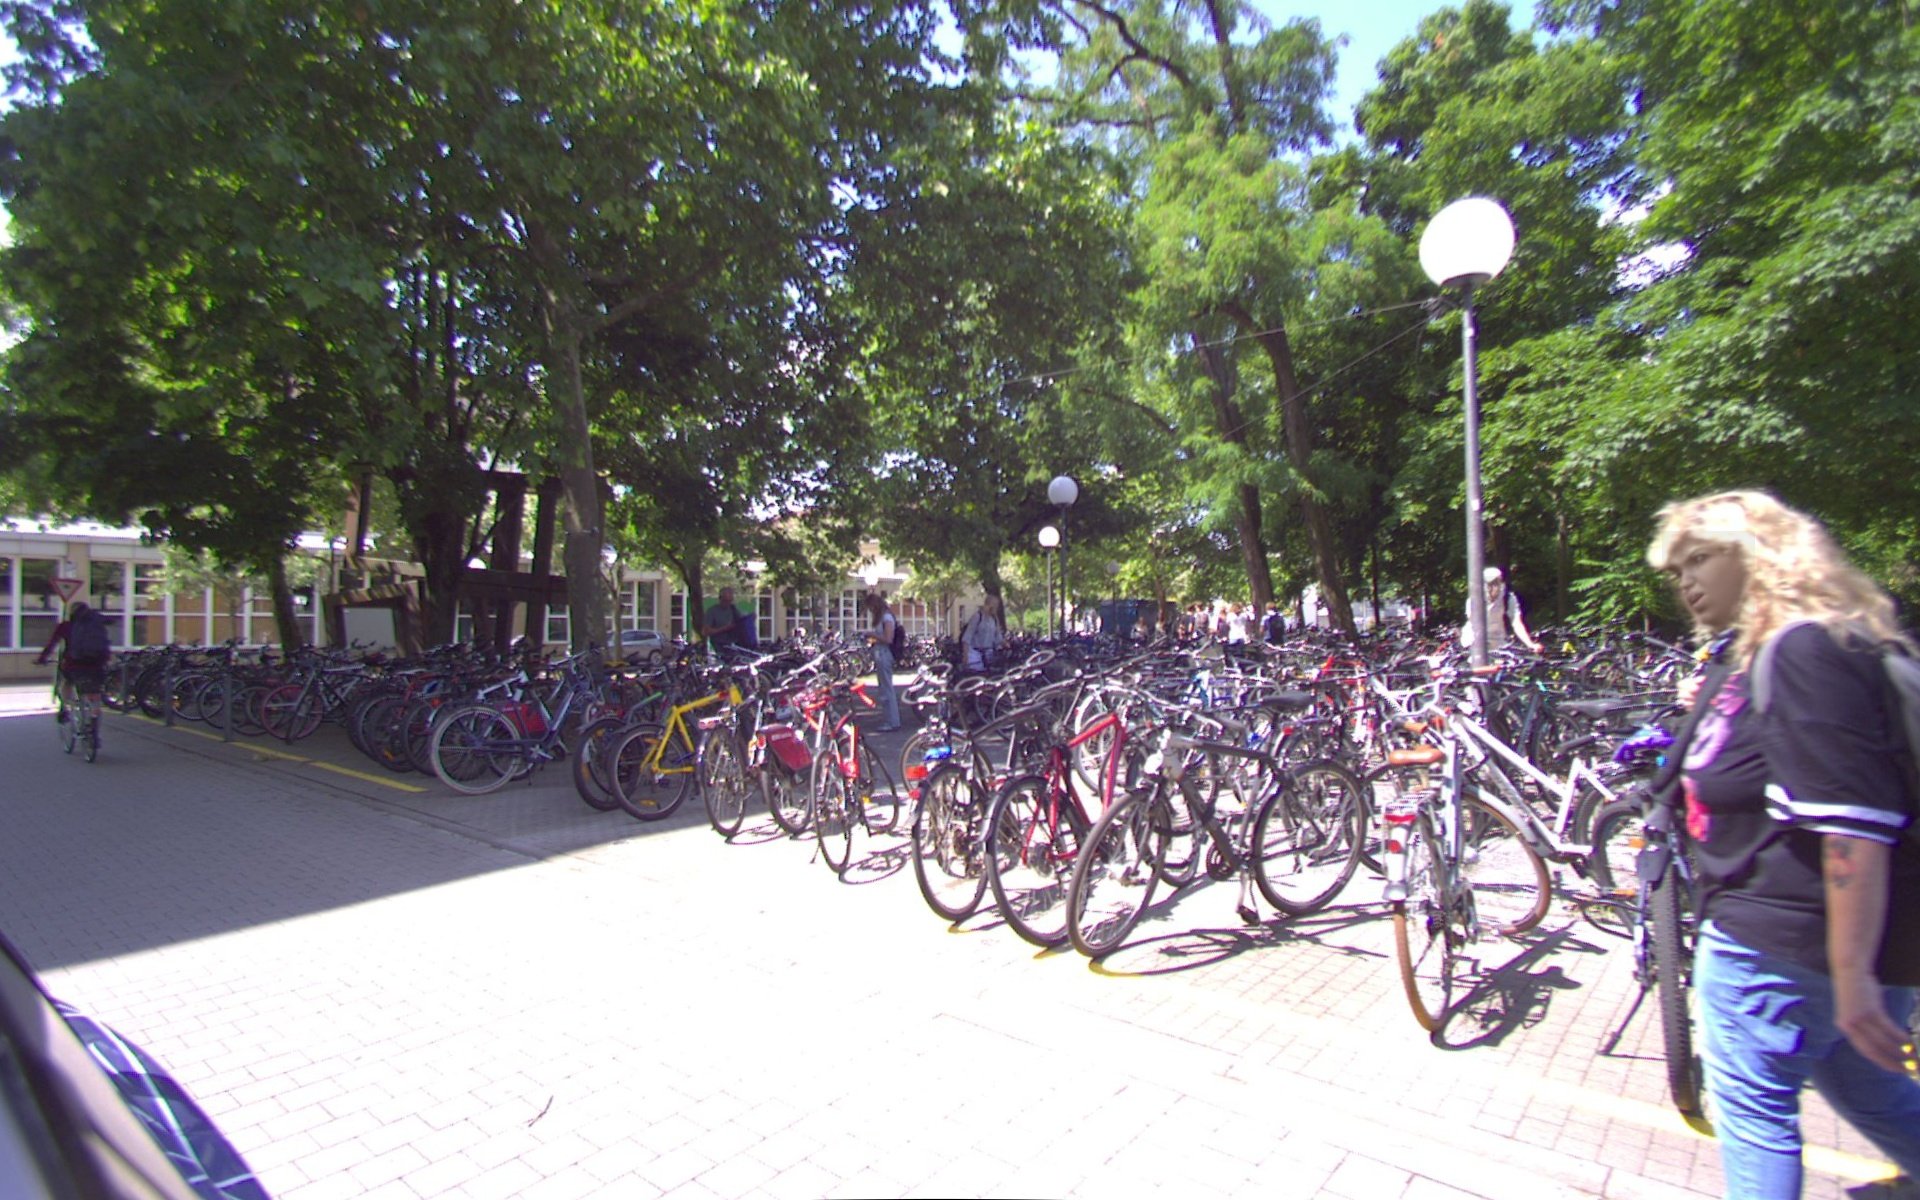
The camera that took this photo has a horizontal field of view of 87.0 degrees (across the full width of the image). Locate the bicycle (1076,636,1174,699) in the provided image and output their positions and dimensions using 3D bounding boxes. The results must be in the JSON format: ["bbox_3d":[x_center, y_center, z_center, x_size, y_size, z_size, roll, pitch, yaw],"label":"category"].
[{"bbox_3d":[2.960,1.211,18.229,1.676,1.092,0.474,-1,-1,2],"label":"bicycle"}]

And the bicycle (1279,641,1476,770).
[{"bbox_3d":[3.843,0.949,9.342,1.672,1.092,0.475,-1,-1,-11],"label":"bicycle"}]

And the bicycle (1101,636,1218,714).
[{"bbox_3d":[3.005,1.114,15.262,1.671,1.092,0.475,-1,-1,-14],"label":"bicycle"}]

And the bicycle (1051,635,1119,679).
[{"bbox_3d":[3.232,1.480,26.279,1.676,1.092,0.474,-1,-1,2],"label":"bicycle"}]

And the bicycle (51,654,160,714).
[{"bbox_3d":[-17.073,1.656,20.247,0.496,1.116,1.608,-5,-4,40],"label":"bicycle"}]

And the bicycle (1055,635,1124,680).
[{"bbox_3d":[3.272,1.446,25.641,1.676,1.092,0.474,-1,-1,2],"label":"bicycle"}]

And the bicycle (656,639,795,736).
[{"bbox_3d":[-3.061,1.133,13.285,1.676,1.209,0.575,-1,-1,2],"label":"bicycle"}]

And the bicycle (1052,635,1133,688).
[{"bbox_3d":[2.856,1.324,21.878,1.676,1.092,0.474,-1,-1,2],"label":"bicycle"}]

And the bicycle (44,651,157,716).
[{"bbox_3d":[-16.301,1.559,19.228,1.606,1.116,0.497,0,-2,-45],"label":"bicycle"}]

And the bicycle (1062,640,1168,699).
[{"bbox_3d":[2.623,1.175,17.214,1.716,0.969,0.452,-1,-1,2],"label":"bicycle"}]

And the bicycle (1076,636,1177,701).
[{"bbox_3d":[2.892,1.183,17.653,1.676,1.092,0.474,-1,-1,2],"label":"bicycle"}]

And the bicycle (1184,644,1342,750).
[{"bbox_3d":[3.402,1.065,11.377,1.671,1.092,0.475,-1,-1,-14],"label":"bicycle"}]

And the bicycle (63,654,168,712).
[{"bbox_3d":[-17.555,1.715,21.059,0.496,1.116,1.608,-5,-4,40],"label":"bicycle"}]

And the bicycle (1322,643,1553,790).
[{"bbox_3d":[3.850,0.915,8.188,1.673,1.092,0.475,-1,-1,-8],"label":"bicycle"}]

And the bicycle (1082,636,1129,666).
[{"bbox_3d":[5.332,1.866,37.107,1.682,1.092,0.472,-1,-1,12],"label":"bicycle"}]

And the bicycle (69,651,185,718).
[{"bbox_3d":[-15.317,1.522,18.637,0.630,1.116,1.606,-2,-2,45],"label":"bicycle"}]

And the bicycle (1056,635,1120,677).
[{"bbox_3d":[3.430,1.515,27.267,1.679,1.092,0.473,-1,-1,8],"label":"bicycle"}]

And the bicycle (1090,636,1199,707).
[{"bbox_3d":[3.012,1.156,16.568,1.673,1.092,0.475,-1,-1,-6],"label":"bicycle"}]

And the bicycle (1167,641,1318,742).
[{"bbox_3d":[3.308,1.054,11.859,1.671,1.092,0.475,-1,-1,-14],"label":"bicycle"}]

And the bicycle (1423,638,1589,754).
[{"bbox_3d":[5.718,0.966,10.725,0.594,1.092,1.703,-1,-1,-10],"label":"bicycle"}]

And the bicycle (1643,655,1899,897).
[{"bbox_3d":[4.416,0.876,5.479,1.670,1.092,0.475,0,-1,-30],"label":"bicycle"}]

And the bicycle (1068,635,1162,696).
[{"bbox_3d":[2.913,1.226,19.053,1.676,1.092,0.474,-1,-1,2],"label":"bicycle"}]

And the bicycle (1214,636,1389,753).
[{"bbox_3d":[3.474,0.937,10.298,1.671,1.092,0.475,-1,-1,-14],"label":"bicycle"}]

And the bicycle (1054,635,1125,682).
[{"bbox_3d":[3.184,1.438,24.962,1.676,1.092,0.474,-1,-1,2],"label":"bicycle"}]

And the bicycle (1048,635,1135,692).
[{"bbox_3d":[2.625,1.271,20.311,1.676,1.092,0.474,-1,-1,2],"label":"bicycle"}]

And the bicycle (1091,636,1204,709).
[{"bbox_3d":[2.955,1.137,16.013,1.673,1.092,0.475,-1,-1,-6],"label":"bicycle"}]

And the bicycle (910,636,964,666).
[{"bbox_3d":[-0.899,1.978,39.026,2.011,1.116,0.500,-1,-1,14],"label":"bicycle"}]

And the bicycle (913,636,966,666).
[{"bbox_3d":[-0.804,1.989,39.543,2.011,1.116,0.500,-1,-1,14],"label":"bicycle"}]

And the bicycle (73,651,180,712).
[{"bbox_3d":[-16.351,1.590,19.901,1.603,1.116,0.498,0,-4,-38],"label":"bicycle"}]

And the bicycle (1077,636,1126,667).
[{"bbox_3d":[5.030,1.827,36.046,1.682,1.092,0.472,-1,-1,12],"label":"bicycle"}]

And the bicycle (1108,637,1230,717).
[{"bbox_3d":[3.023,1.095,14.647,1.671,1.092,0.475,-1,-1,-14],"label":"bicycle"}]

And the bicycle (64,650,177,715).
[{"bbox_3d":[-15.743,1.529,19.005,1.606,1.116,0.497,0,-2,-45],"label":"bicycle"}]

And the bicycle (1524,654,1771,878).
[{"bbox_3d":[4.004,0.889,5.858,1.670,1.092,0.475,0,-1,-30],"label":"bicycle"}]

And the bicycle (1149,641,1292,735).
[{"bbox_3d":[3.240,1.075,12.585,1.671,1.092,0.475,-1,-1,-14],"label":"bicycle"}]

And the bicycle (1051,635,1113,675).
[{"bbox_3d":[3.419,1.549,28.429,1.682,1.092,0.472,-1,-1,12],"label":"bicycle"}]

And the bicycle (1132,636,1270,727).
[{"bbox_3d":[3.108,1.035,13.049,1.671,1.092,0.475,-1,-1,-14],"label":"bicycle"}]

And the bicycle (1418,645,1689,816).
[{"bbox_3d":[4.135,0.886,7.083,1.673,1.092,0.475,-1,-1,-8],"label":"bicycle"}]

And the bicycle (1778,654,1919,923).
[{"bbox_3d":[4.687,0.848,5.040,1.695,1.092,0.475,0,-1,-35],"label":"bicycle"}]

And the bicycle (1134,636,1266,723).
[{"bbox_3d":[3.232,1.057,13.632,1.671,1.092,0.475,-1,-1,-14],"label":"bicycle"}]

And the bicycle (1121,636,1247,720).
[{"bbox_3d":[3.131,1.072,14.150,1.671,1.092,0.475,-1,-1,-14],"label":"bicycle"}]

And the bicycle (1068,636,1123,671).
[{"bbox_3d":[4.279,1.681,31.949,1.682,1.092,0.472,-1,-1,12],"label":"bicycle"}]

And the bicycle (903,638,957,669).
[{"bbox_3d":[-1.137,2.029,38.413,2.011,1.116,0.500,-1,-1,14],"label":"bicycle"}]

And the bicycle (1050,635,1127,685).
[{"bbox_3d":[2.915,1.367,22.987,1.676,1.092,0.474,-1,-1,2],"label":"bicycle"}]

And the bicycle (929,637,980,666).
[{"bbox_3d":[-0.234,2.071,40.659,2.016,1.116,0.499,-1,-1,22],"label":"bicycle"}]

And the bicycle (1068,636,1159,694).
[{"bbox_3d":[2.954,1.251,19.605,1.676,1.092,0.474,-1,-1,2],"label":"bicycle"}]

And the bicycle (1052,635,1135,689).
[{"bbox_3d":[2.811,1.302,21.376,1.676,1.092,0.474,-1,-1,2],"label":"bicycle"}]
